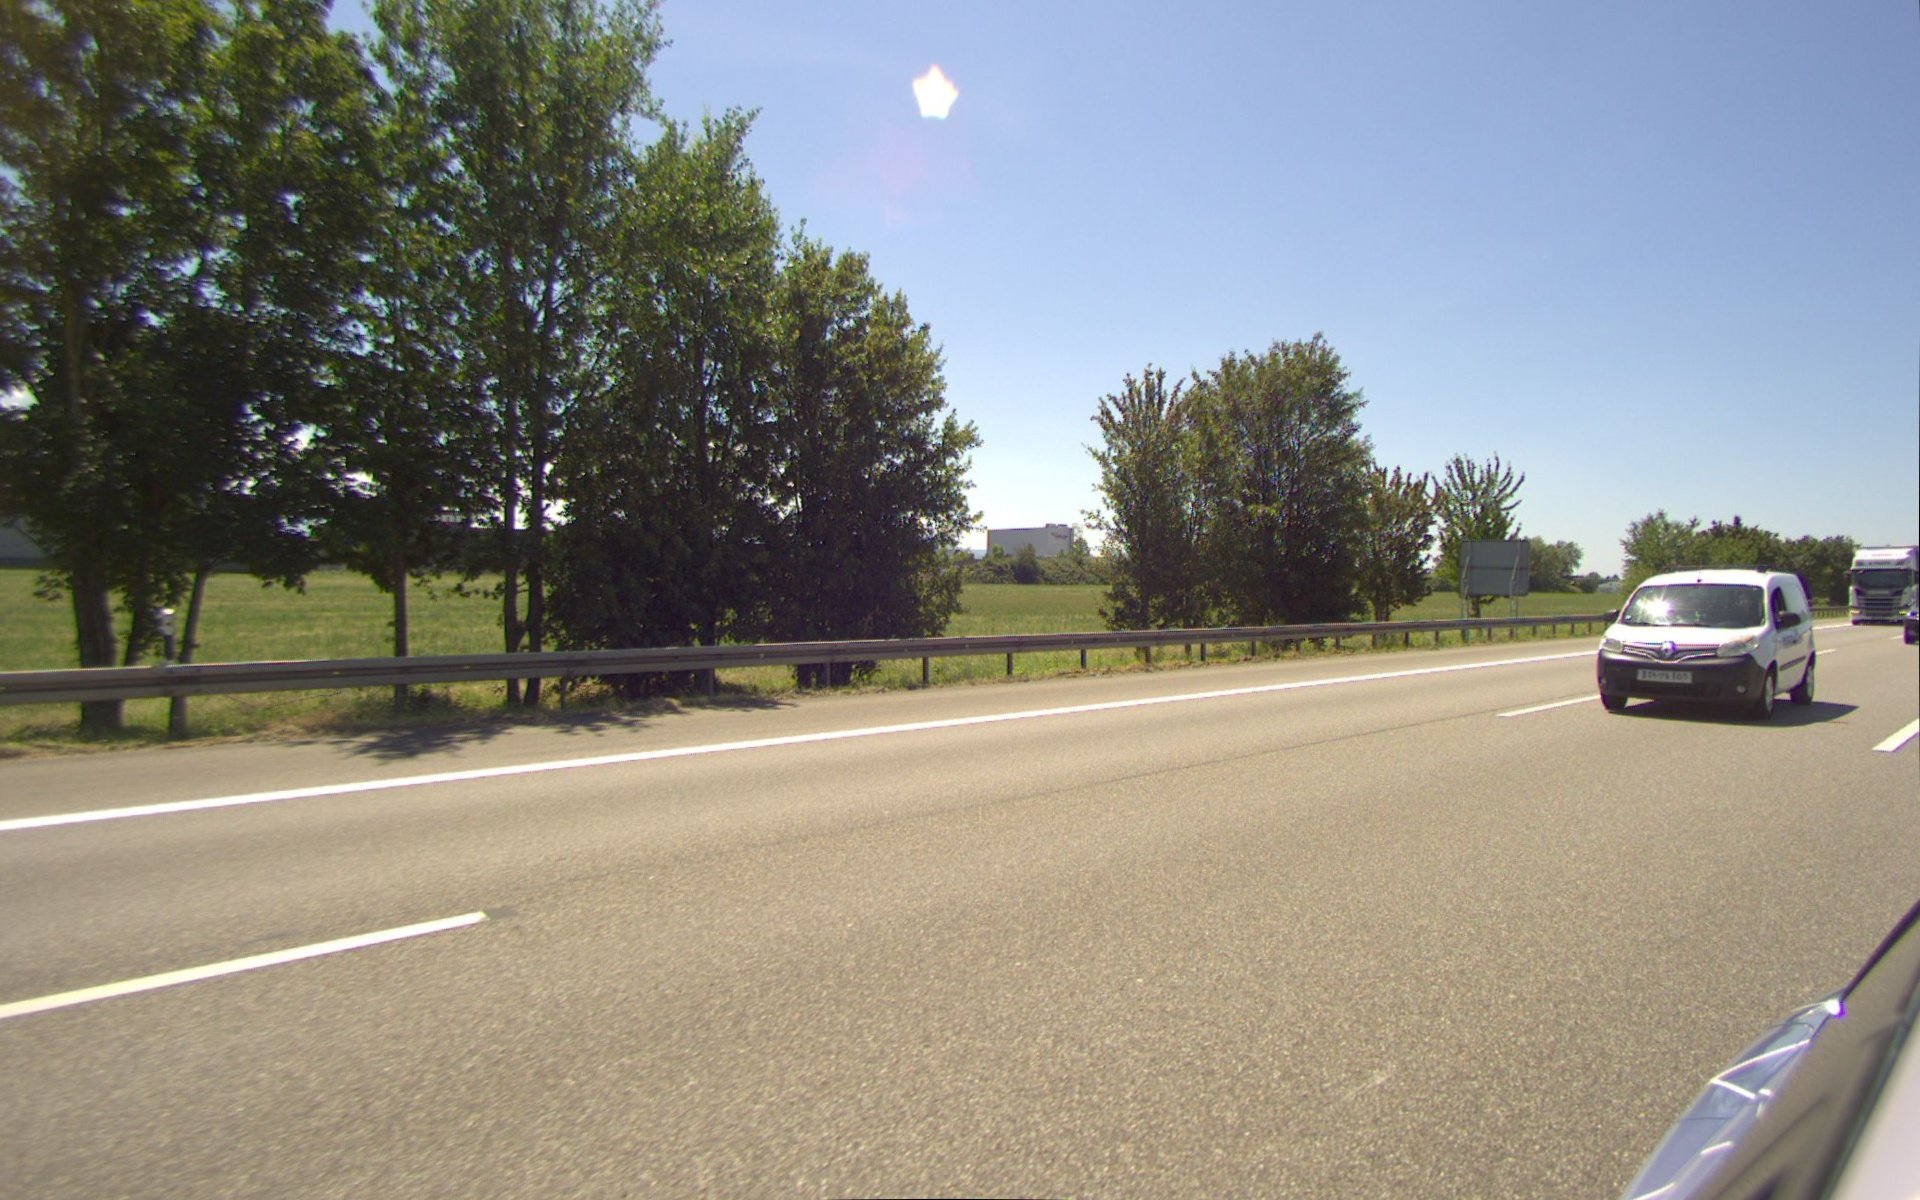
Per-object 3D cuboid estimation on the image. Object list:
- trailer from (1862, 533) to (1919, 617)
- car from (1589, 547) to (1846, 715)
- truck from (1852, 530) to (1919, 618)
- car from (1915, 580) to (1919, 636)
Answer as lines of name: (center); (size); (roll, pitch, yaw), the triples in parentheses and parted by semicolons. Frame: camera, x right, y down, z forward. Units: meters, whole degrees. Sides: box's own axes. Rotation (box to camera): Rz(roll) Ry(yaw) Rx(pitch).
trailer: (54.338, -1.329, 57.463); (14.004, 4.359, 2.815); (0, 0, -41)
car: (10.276, 0.343, 13.590); (4.620, 1.886, 1.856); (0, 0, -41)
truck: (49.467, -1.303, 53.262); (7.066, 4.359, 2.815); (0, 0, -41)
car: (31.395, 0.219, 31.522); (4.661, 1.696, 1.871); (0, 0, -40)
